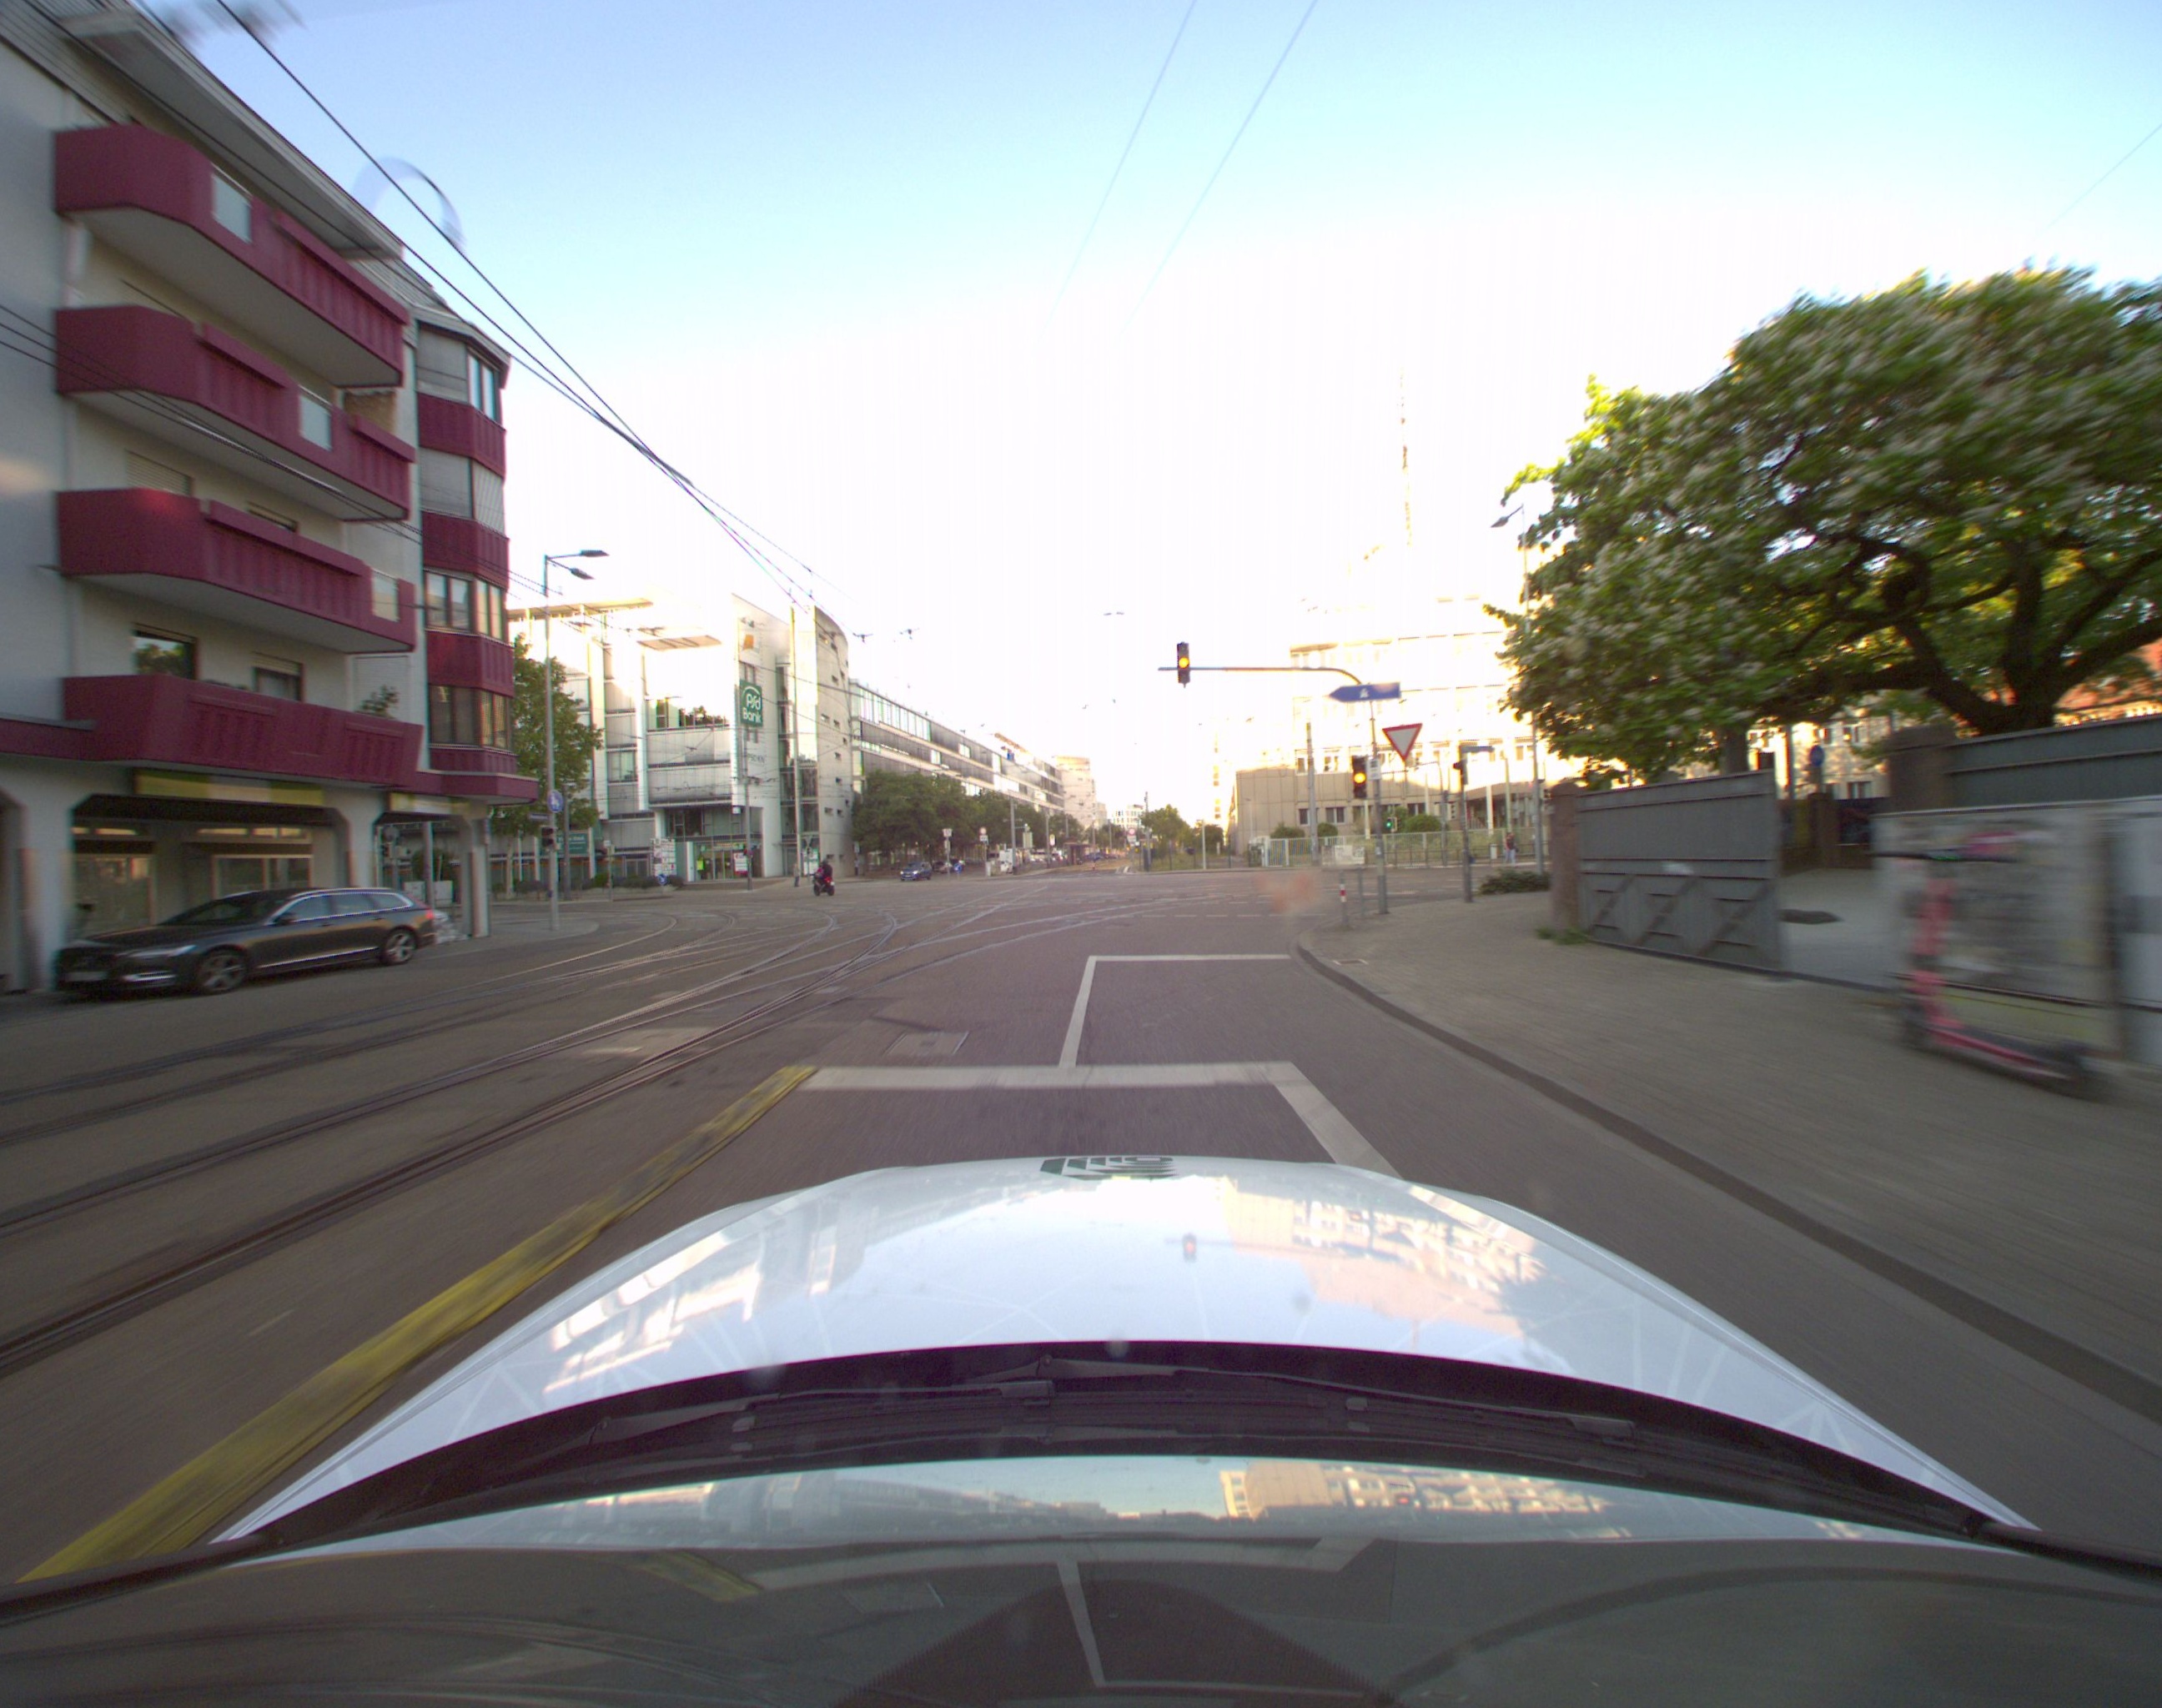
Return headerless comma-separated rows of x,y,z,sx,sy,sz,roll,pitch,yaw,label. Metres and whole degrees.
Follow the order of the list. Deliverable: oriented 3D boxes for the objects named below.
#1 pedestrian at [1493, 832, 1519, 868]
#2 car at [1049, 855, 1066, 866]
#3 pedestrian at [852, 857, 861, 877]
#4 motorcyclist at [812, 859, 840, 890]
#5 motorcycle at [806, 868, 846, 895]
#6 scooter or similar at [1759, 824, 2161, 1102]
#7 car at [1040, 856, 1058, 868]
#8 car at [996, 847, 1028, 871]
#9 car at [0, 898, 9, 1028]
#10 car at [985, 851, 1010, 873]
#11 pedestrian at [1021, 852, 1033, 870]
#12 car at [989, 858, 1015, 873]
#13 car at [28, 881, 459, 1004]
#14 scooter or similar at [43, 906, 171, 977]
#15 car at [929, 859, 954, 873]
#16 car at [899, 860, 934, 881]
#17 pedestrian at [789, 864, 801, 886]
19.751,-0.180,37.894,0.750,1.616,0.830,-2,-1,3,pedestrian
-3.329,0.909,117.375,1.673,1.439,4.135,-2,0,8,car
-22.027,1.274,79.934,0.660,1.922,0.547,-3,0,-4,pedestrian
-12.265,0.984,39.131,0.835,1.473,1.192,-2,0,-43,motorcyclist
-12.263,1.323,39.143,0.835,1.240,2.461,-2,0,-42,motorcycle
4.852,0.514,4.624,0.639,1.266,1.583,-4,0,2,scooter or similar
-4.308,1.080,109.038,1.673,1.439,4.135,-2,0,8,car
-7.566,0.551,89.815,2.450,2.482,5.815,-2,0,4,car
-13.514,1.280,7.454,1.781,1.508,4.201,-1,0,1,car
-12.947,1.207,126.632,2.188,3.152,6.158,-2,0,9,car
-6.044,0.767,90.742,1.043,2.030,0.978,-2,0,-20,pedestrian
-8.125,1.187,84.152,1.673,1.439,4.135,-2,0,8,car
-13.358,1.295,13.645,1.845,1.456,5.087,-2,0,1,car
-18.214,1.610,15.276,0.547,1.165,1.480,-2,0,2,scooter or similar
-16.886,1.452,98.837,1.673,1.501,4.249,-2,0,9,car
-14.970,1.498,74.322,1.672,1.699,4.251,-2,0,10,car
-22.590,1.678,64.305,0.542,1.711,0.663,-2,0,18,pedestrian
